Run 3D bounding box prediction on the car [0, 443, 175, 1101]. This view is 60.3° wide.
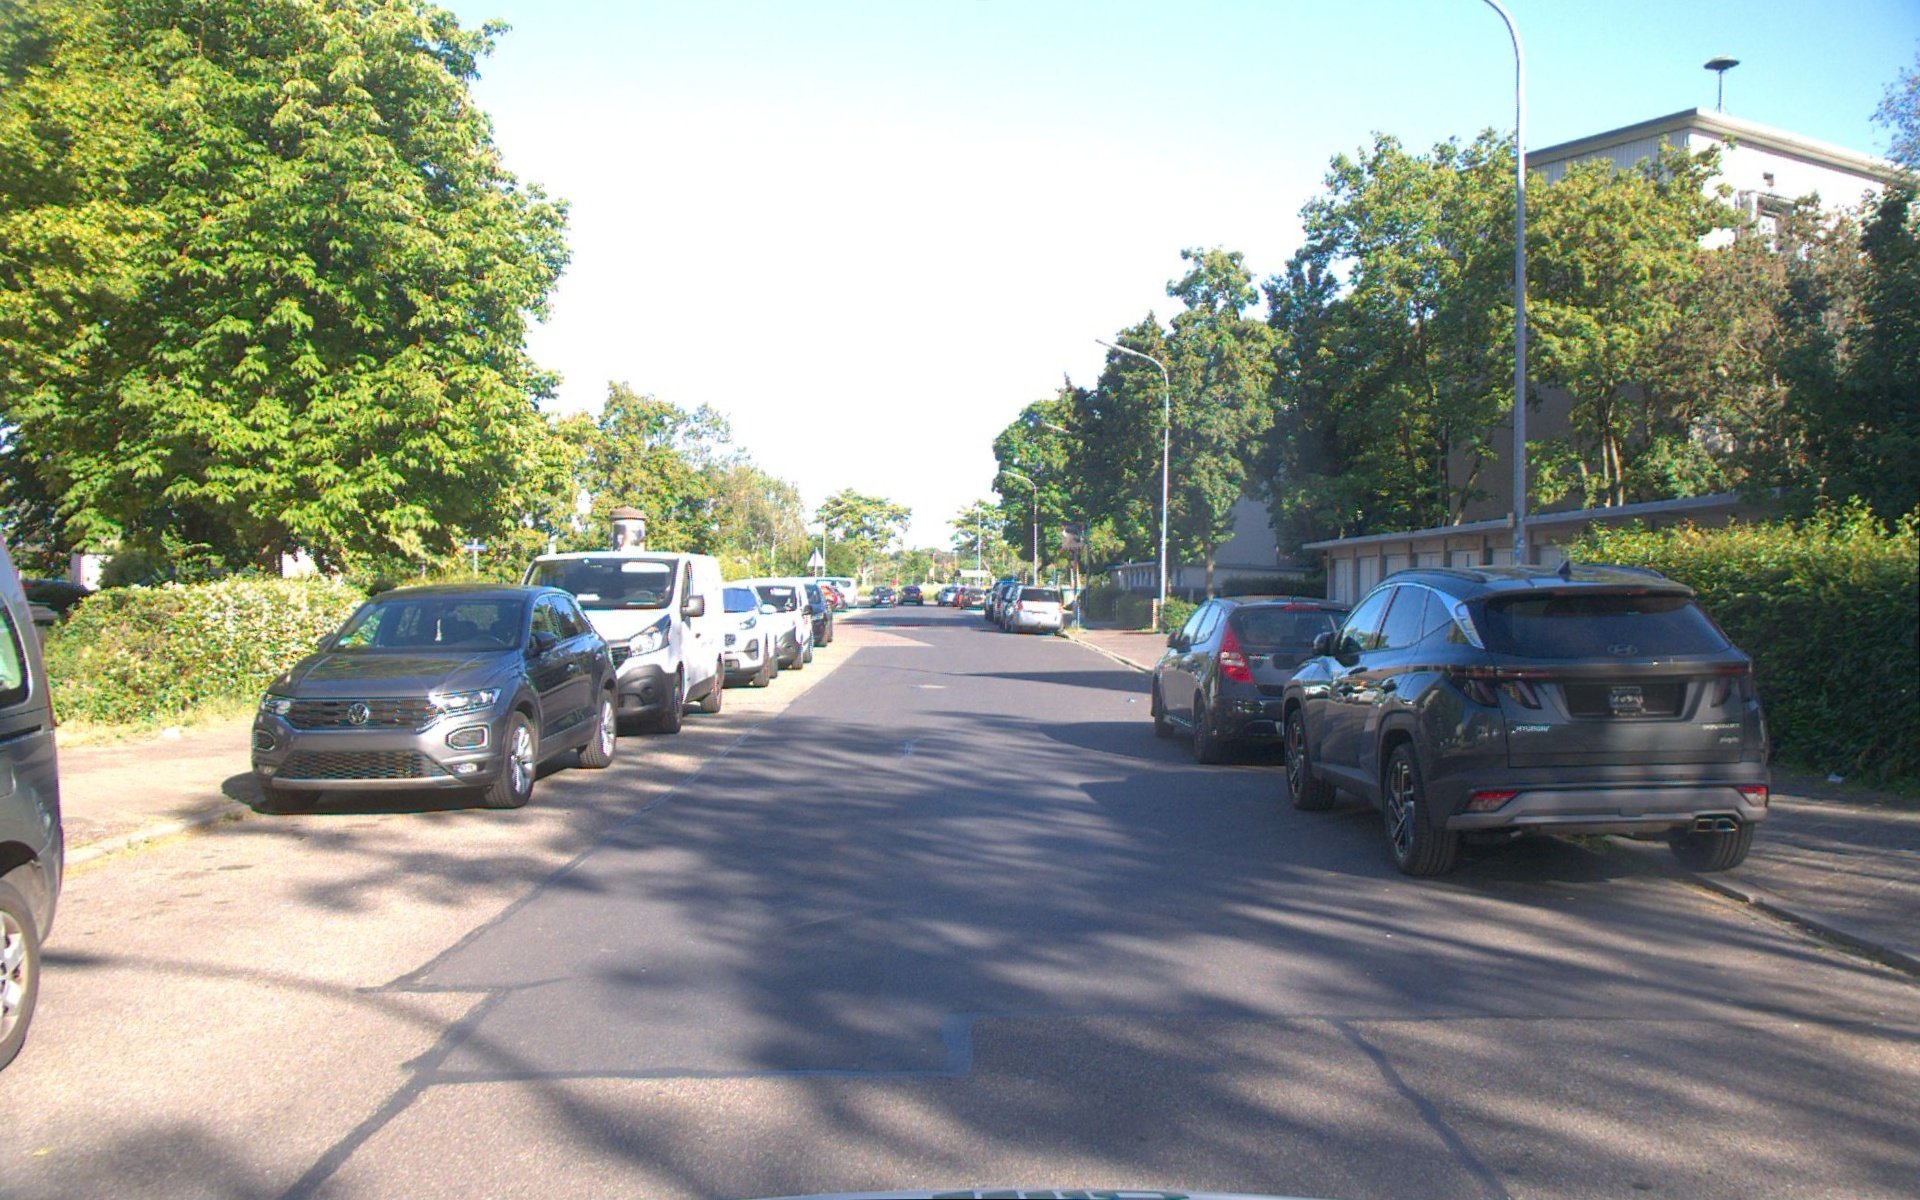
[{"bbox_3d":[-3.678,0.521,3.751,1.817,1.925,4.416,-1,1,-2],"label":"car"}]

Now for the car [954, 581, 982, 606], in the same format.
[{"bbox_3d":[0.573,-0.482,118.739,1.760,1.672,3.949,1,0,-3],"label":"car"}]

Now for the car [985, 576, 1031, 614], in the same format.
[{"bbox_3d":[2.213,-0.261,76.652,1.760,1.672,3.949,1,0,-3],"label":"car"}]

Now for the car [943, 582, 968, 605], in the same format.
[{"bbox_3d":[-0.365,-0.523,128.826,1.760,1.672,3.949,2,1,-3],"label":"car"}]

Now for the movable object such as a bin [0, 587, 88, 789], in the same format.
[{"bbox_3d":[-7.281,0.606,12.045,1.079,1.380,1.361,3,1,-1],"label":"movable object such as a bin"}]

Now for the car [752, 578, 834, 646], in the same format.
[{"bbox_3d":[-4.268,0.274,42.752,1.711,1.641,4.307,-1,1,-1],"label":"car"}]

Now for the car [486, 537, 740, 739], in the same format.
[{"bbox_3d":[-3.793,0.351,19.025,1.876,1.997,5.087,-1,1,-1],"label":"car"}]

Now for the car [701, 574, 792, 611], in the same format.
[{"bbox_3d":[-9.658,-0.346,75.062,3.976,1.589,1.799,2,0,-6],"label":"car"}]

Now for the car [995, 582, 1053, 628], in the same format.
[{"bbox_3d":[2.334,0.156,61.452,1.760,1.589,3.949,1,0,-3],"label":"car"}]

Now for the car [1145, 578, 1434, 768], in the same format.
[{"bbox_3d":[3.018,0.592,16.090,1.869,1.557,4.327,1,0,-1],"label":"car"}]

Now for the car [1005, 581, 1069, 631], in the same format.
[{"bbox_3d":[2.582,0.166,56.212,1.760,1.589,3.949,1,0,-3],"label":"car"}]

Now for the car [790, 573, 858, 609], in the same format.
[{"bbox_3d":[-8.067,-0.528,98.119,3.976,2.027,1.799,1,0,-6],"label":"car"}]

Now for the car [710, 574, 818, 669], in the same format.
[{"bbox_3d":[-3.838,0.379,32.910,1.711,1.762,4.005,-1,1,-1],"label":"car"}]

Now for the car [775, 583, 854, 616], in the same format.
[{"bbox_3d":[-7.543,-0.025,85.541,3.976,1.589,1.799,2,0,-6],"label":"car"}]

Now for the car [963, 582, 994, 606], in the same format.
[{"bbox_3d":[1.232,-0.419,111.457,1.760,1.575,3.949,1,0,-3],"label":"car"}]

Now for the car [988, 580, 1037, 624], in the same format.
[{"bbox_3d":[2.247,0.077,71.964,1.760,1.817,3.949,1,0,-3],"label":"car"}]

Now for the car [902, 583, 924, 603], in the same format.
[{"bbox_3d":[-3.774,-0.569,132.063,1.646,1.540,4.102,2,0,-3],"label":"car"}]

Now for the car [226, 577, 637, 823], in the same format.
[{"bbox_3d":[-3.793,0.622,12.663,1.710,1.560,4.140,-1,1,1],"label":"car"}]

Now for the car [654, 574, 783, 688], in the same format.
[{"bbox_3d":[-3.884,0.446,27.198,1.712,1.699,4.375,-1,1,-4],"label":"car"}]

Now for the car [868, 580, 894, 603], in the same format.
[{"bbox_3d":[-5.632,-0.600,117.380,1.760,1.589,3.949,1,0,-3],"label":"car"}]

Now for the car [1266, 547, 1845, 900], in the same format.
[{"bbox_3d":[3.315,0.580,10.324,1.869,1.668,4.627,1,0,-1],"label":"car"}]
